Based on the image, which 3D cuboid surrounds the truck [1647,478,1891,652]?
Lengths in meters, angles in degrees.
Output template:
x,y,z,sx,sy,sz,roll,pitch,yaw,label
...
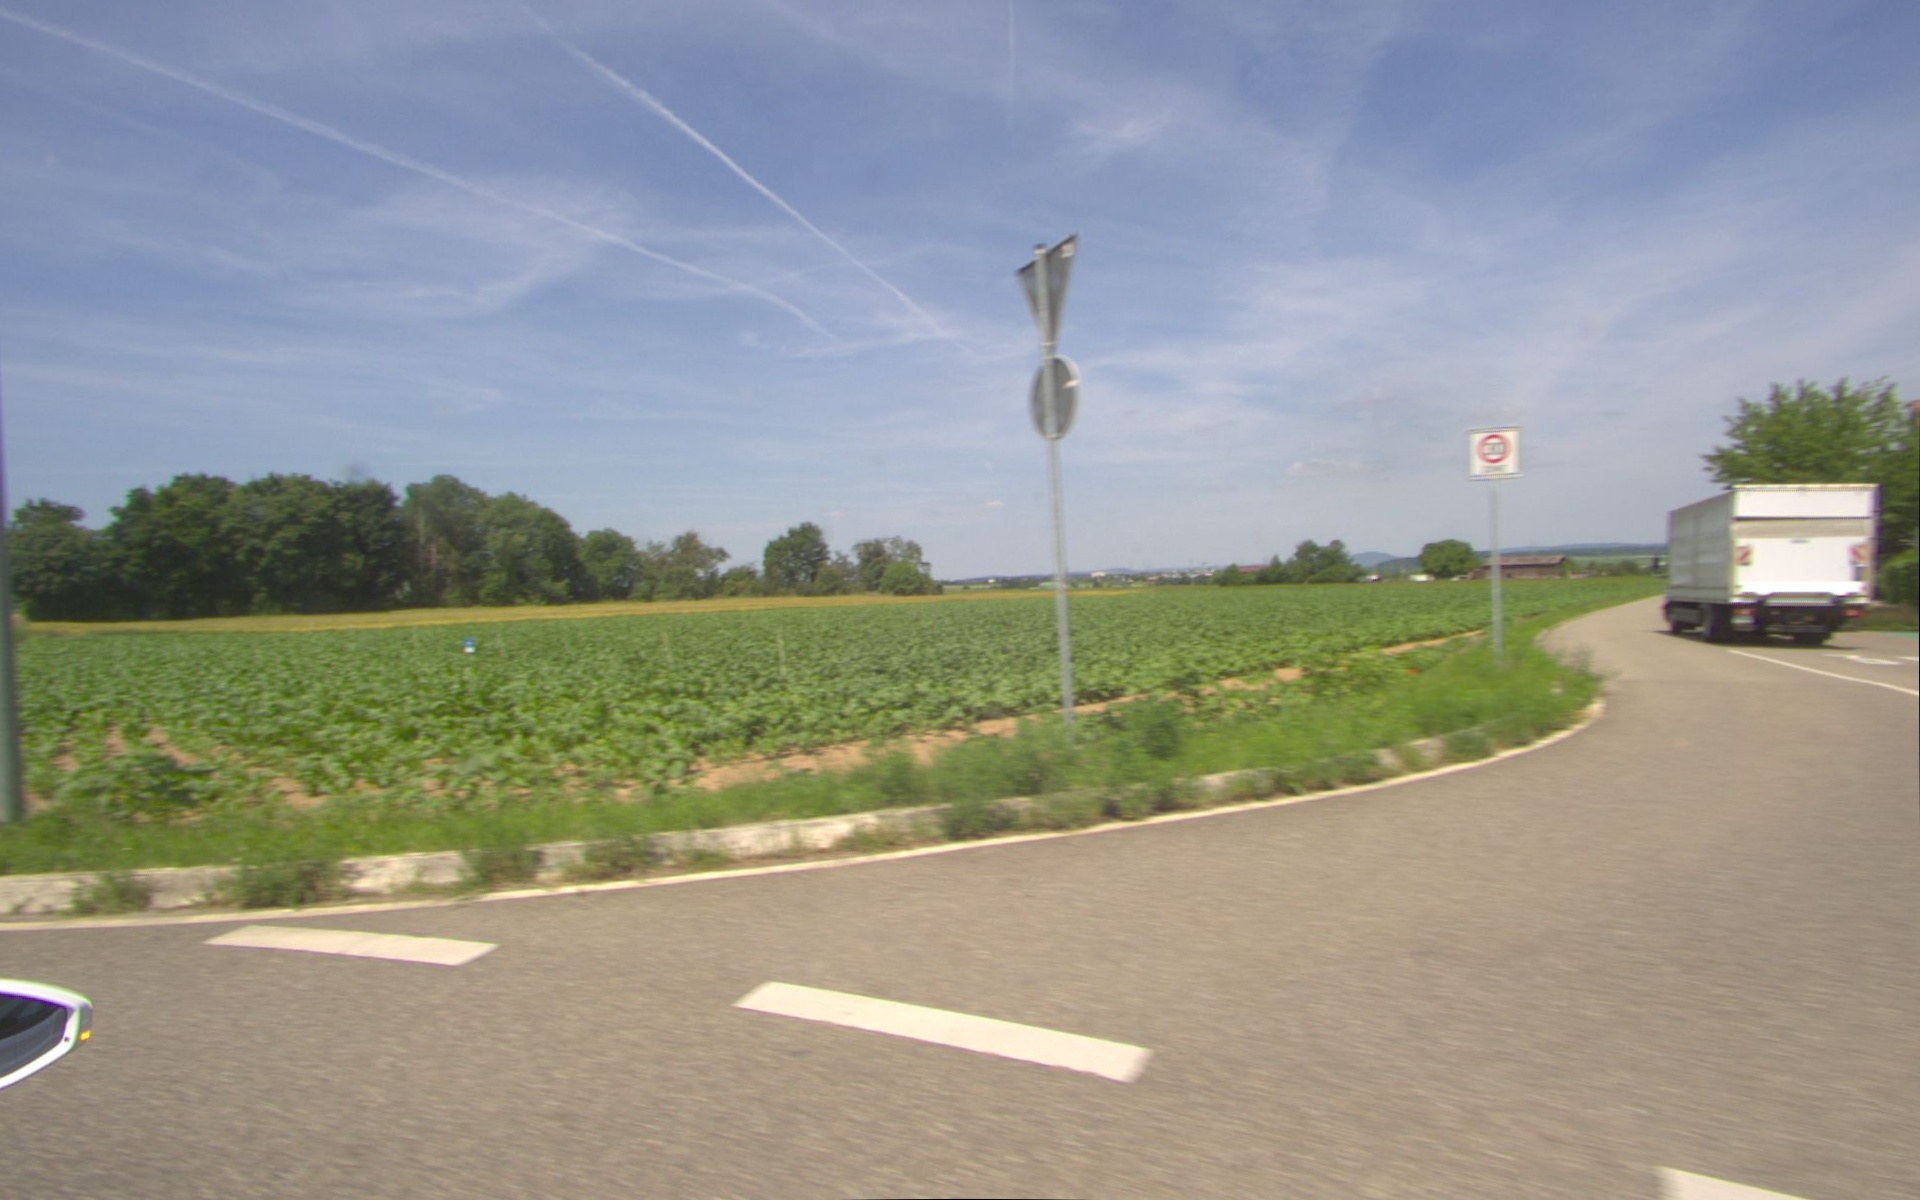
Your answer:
x,y,z,sx,sy,sz,roll,pitch,yaw,label
20.618,-0.814,26.250,2.730,3.720,9.348,1,1,25,truck
